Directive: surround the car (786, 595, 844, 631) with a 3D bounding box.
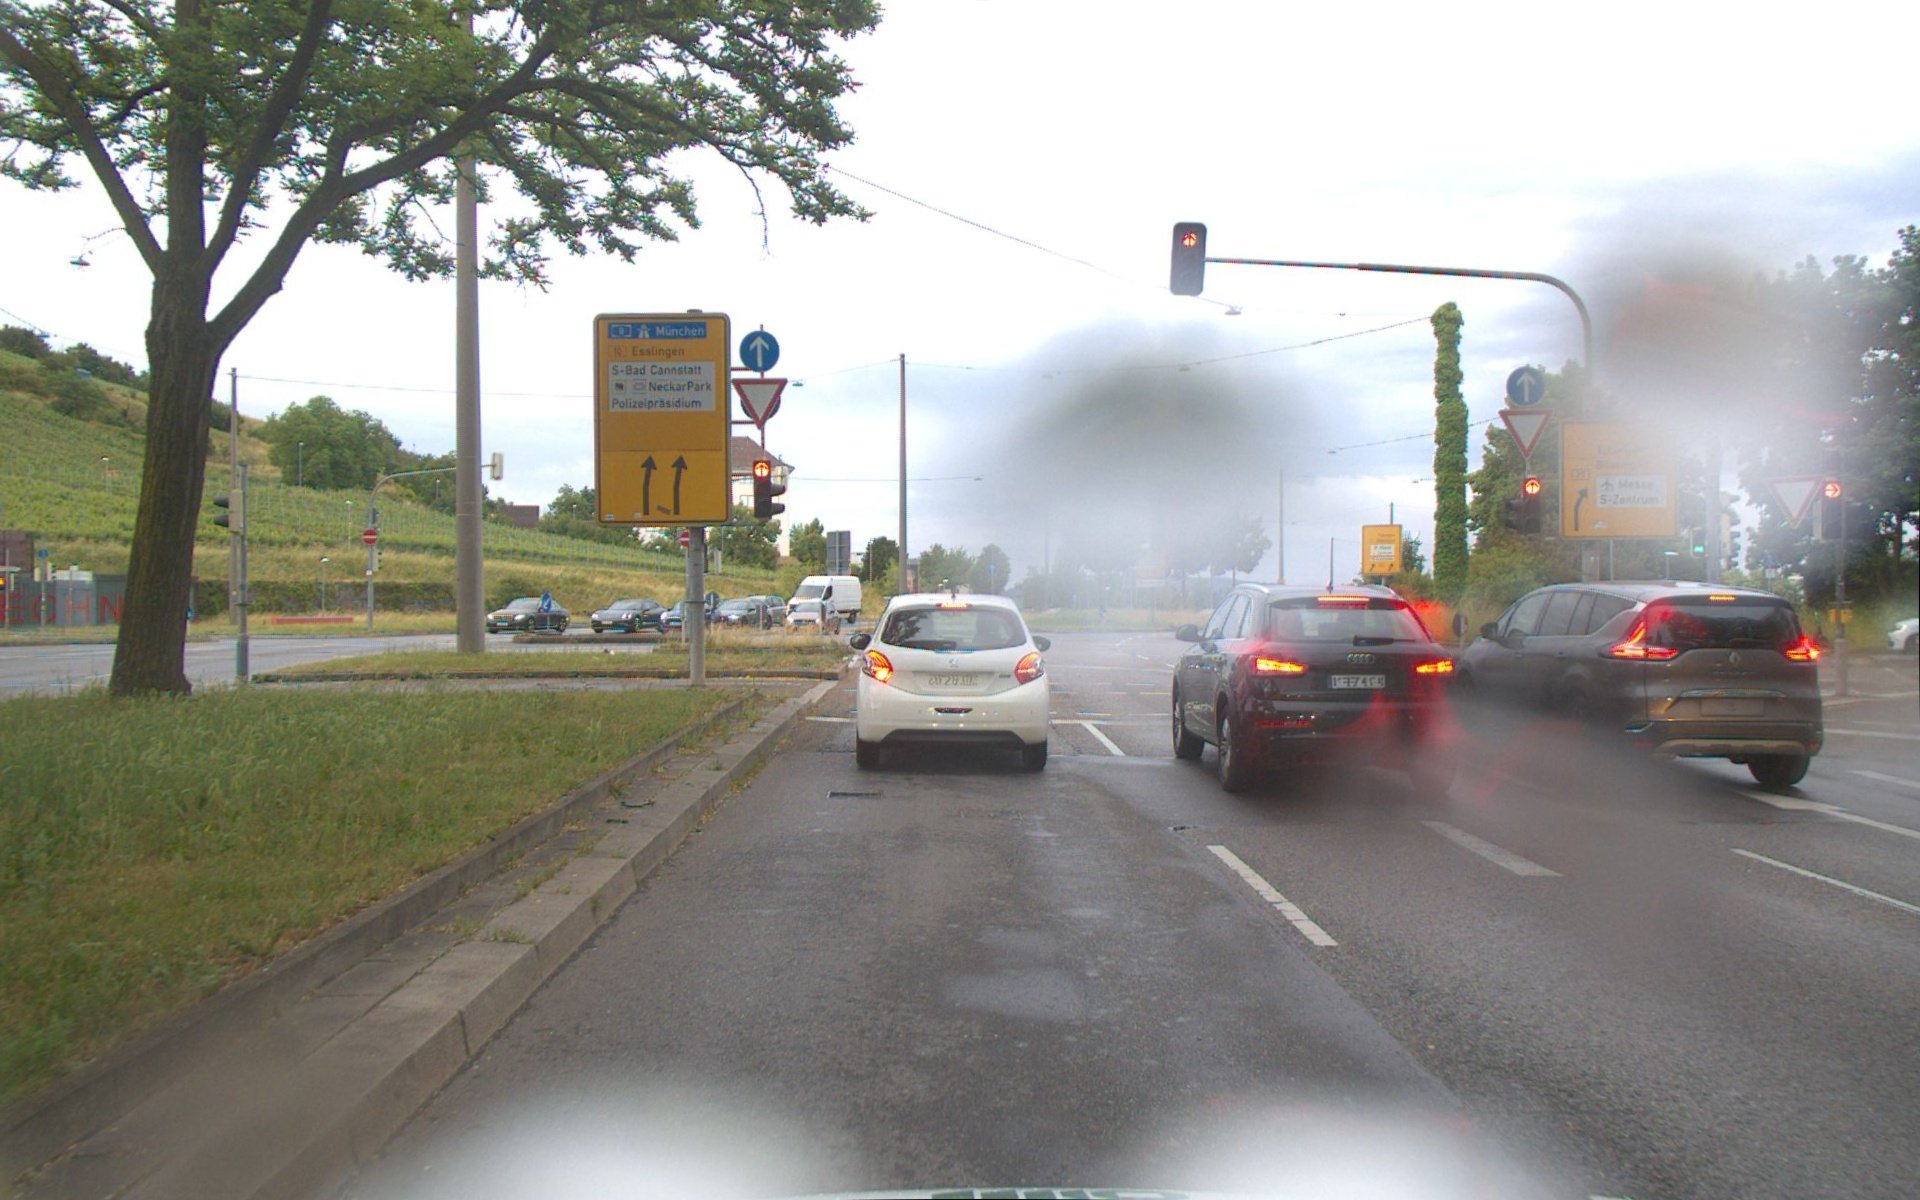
[{"bbox_3d":[-6.121,0.562,70.276,1.738,1.450,4.376,-1,-1,5],"label":"car"}]

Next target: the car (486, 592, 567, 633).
[{"bbox_3d":[-18.196,0.525,69.644,1.790,1.652,4.569,2,0,6],"label":"car"}]

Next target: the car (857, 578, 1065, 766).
[{"bbox_3d":[-0.016,0.597,15.504,1.683,1.515,3.999,1,0,-1],"label":"car"}]

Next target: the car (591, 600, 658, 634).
[{"bbox_3d":[-14.458,0.751,71.373,1.748,1.420,3.884,1,-1,5],"label":"car"}]

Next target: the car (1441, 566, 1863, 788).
[{"bbox_3d":[6.006,0.563,15.044,1.827,1.703,4.564,1,1,-1],"label":"car"}]

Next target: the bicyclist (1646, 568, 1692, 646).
[{"bbox_3d":[14.967,0.147,34.907,0.793,1.611,1.021,1,-1,27],"label":"bicyclist"}]

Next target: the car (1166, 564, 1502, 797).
[{"bbox_3d":[2.954,0.590,13.967,1.846,1.623,4.113,2,0,0],"label":"car"}]

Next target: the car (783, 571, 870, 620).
[{"bbox_3d":[-7.445,-0.201,93.224,1.955,2.604,6.163,1,-1,26],"label":"car"}]

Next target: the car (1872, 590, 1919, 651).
[{"bbox_3d":[26.651,0.553,43.870,4.045,1.591,1.871,0,0,21],"label":"car"}]

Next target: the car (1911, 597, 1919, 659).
[{"bbox_3d":[25.870,0.714,40.509,4.279,1.546,1.729,0,-1,24],"label":"car"}]

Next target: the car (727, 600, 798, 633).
[{"bbox_3d":[-10.227,0.825,85.905,1.952,1.603,4.196,0,1,20],"label":"car"}]

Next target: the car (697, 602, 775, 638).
[{"bbox_3d":[-10.167,0.914,75.407,1.861,1.515,4.896,1,0,13],"label":"car"}]

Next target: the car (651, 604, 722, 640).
[{"bbox_3d":[-11.447,0.953,69.530,1.748,1.420,3.885,1,-1,10],"label":"car"}]
